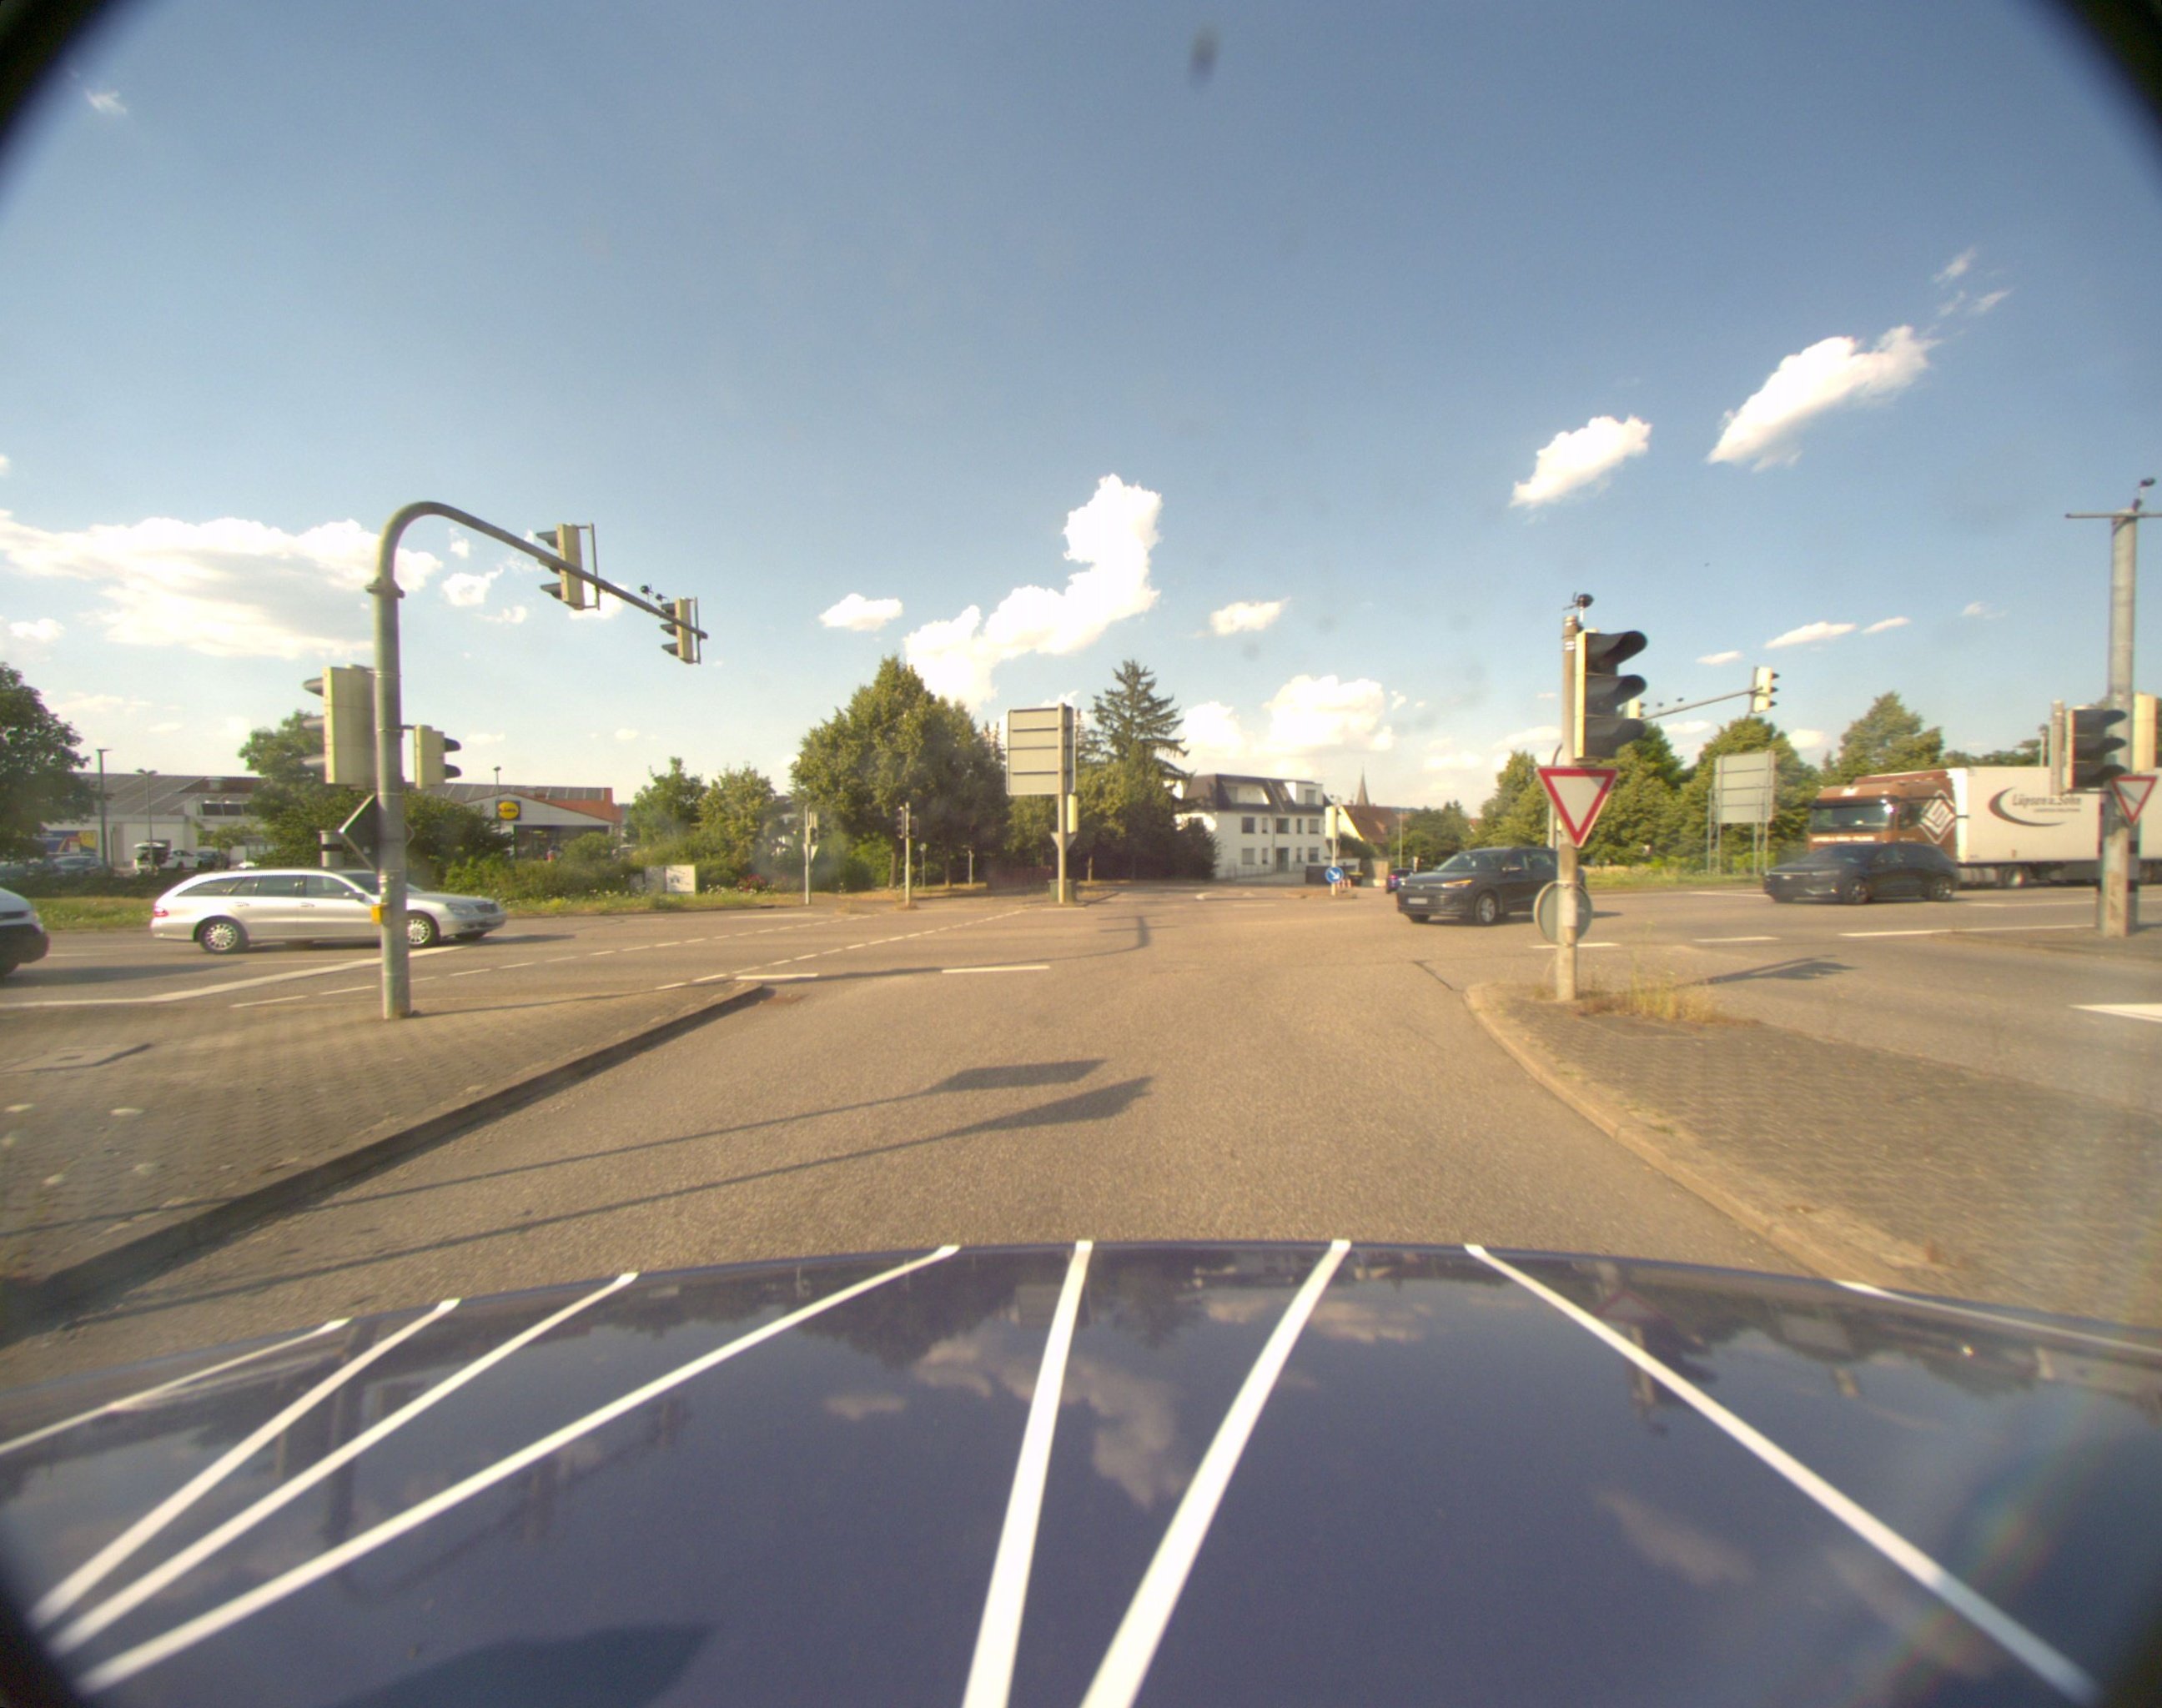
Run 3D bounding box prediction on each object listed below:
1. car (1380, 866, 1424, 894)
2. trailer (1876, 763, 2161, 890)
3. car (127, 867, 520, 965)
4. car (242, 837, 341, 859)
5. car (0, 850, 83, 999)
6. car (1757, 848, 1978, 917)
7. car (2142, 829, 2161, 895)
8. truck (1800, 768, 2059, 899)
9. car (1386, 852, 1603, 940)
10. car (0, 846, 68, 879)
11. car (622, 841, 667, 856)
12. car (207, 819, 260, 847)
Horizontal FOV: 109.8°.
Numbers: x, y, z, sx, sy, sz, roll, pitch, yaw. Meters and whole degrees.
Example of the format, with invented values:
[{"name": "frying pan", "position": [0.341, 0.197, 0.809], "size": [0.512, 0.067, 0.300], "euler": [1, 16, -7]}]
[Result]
[{"name": "car", "position": [18.598, 1.459, 44.200], "size": [1.790, 1.488, 4.307], "euler": [-2, -1, 15]}, {"name": "trailer", "position": [35.150, -0.974, 26.619], "size": [14.337, 4.042, 2.538], "euler": [-1, 0, -10]}, {"name": "car", "position": [-13.767, 1.065, 14.163], "size": [4.954, 1.504, 1.861], "euler": [-1, 0, -11]}, {"name": "car", "position": [-58.396, -0.462, 56.327], "size": [4.802, 1.525, 1.846], "euler": [-1, -1, -36]}, {"name": "car", "position": [-16.390, 0.894, 9.377], "size": [4.820, 1.936, 1.904], "euler": [0, 0, -13]}, {"name": "car", "position": [20.777, 0.712, 20.147], "size": [4.548, 1.603, 1.775], "euler": [-1, 0, -9]}, {"name": "car", "position": [33.974, 0.176, 22.104], "size": [4.373, 1.936, 1.907], "euler": [-2, -1, -11]}, {"name": "truck", "position": [28.218, -0.672, 25.371], "size": [6.662, 4.019, 2.538], "euler": [-1, 0, -10]}, {"name": "car", "position": [8.972, 0.825, 16.458], "size": [4.474, 1.619, 1.785], "euler": [-1, 0, -24]}, {"name": "car", "position": [-68.276, 0.590, 48.892], "size": [2.003, 2.001, 4.922], "euler": [-1, -1, -31]}, {"name": "car", "position": [-43.799, -0.546, 76.275], "size": [3.942, 1.367, 2.016], "euler": [0, -1, -30]}, {"name": "car", "position": [-62.951, -1.534, 56.520], "size": [1.835, 1.834, 3.779], "euler": [-1, -1, -36]}]
